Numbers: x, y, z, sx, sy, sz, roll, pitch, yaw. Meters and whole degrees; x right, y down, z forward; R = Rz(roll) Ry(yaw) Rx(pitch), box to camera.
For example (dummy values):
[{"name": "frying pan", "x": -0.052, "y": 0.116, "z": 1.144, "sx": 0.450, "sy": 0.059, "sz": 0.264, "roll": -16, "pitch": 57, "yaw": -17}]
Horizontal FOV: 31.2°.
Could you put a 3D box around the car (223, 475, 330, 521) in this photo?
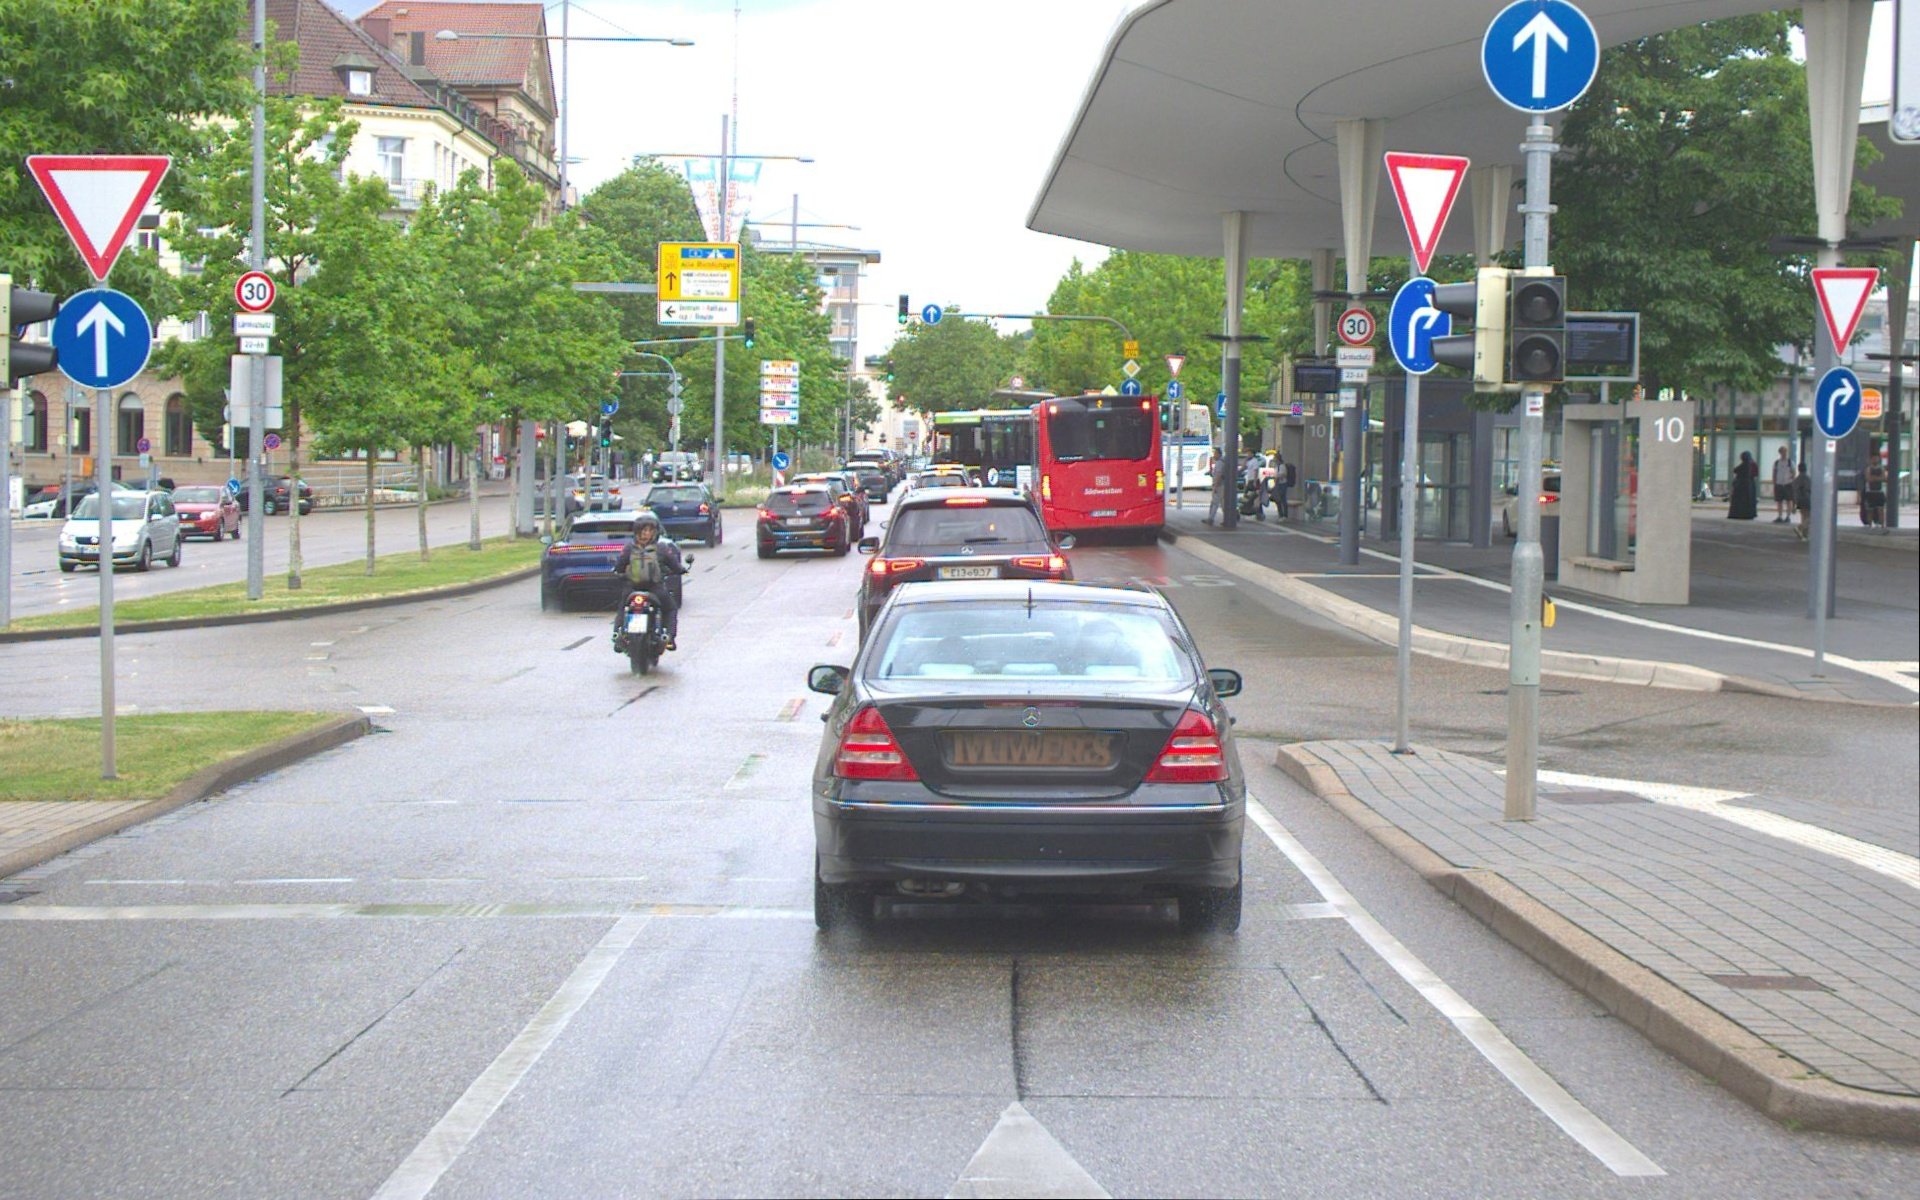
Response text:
[{"name": "car", "x": -24.326, "y": -3.623, "z": 122.282, "sx": 3.765, "sy": 1.555, "sz": 1.729, "roll": 1, "pitch": 0, "yaw": 40}]

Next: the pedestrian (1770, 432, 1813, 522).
[{"name": "pedestrian", "x": 19.205, "y": -2.833, "z": 79.369, "sx": 0.724, "sy": 2.007, "sz": 0.669, "roll": 3, "pitch": -2, "yaw": 26}]

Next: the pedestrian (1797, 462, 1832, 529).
[{"name": "pedestrian", "x": 20.669, "y": -2.534, "z": 83.149, "sx": 0.580, "sy": 1.573, "sz": 0.560, "roll": 3, "pitch": -2, "yaw": 35}]

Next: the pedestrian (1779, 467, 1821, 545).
[{"name": "pedestrian", "x": 17.174, "y": -1.914, "z": 70.277, "sx": 0.598, "sy": 1.576, "sz": 0.712, "roll": 0, "pitch": 0, "yaw": -9}]

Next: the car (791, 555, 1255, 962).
[{"name": "car", "x": 0.200, "y": 0.552, "z": 14.754, "sx": 1.697, "sy": 1.457, "sz": 4.304, "roll": 0, "pitch": 1, "yaw": -1}]

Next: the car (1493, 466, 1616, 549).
[{"name": "car", "x": 12.402, "y": -1.959, "z": 71.965, "sx": 1.711, "sy": 1.656, "sz": 4.240, "roll": 1, "pitch": 2, "yaw": -1}]

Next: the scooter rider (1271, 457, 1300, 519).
[{"name": "scooter rider", "x": 7.835, "y": -2.700, "z": 82.736, "sx": 0.592, "sy": 1.484, "sz": 0.764, "roll": 1, "pitch": 2, "yaw": 13}]

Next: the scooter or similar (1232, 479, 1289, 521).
[{"name": "scooter or similar", "x": 7.245, "y": -2.410, "z": 82.898, "sx": 1.243, "sy": 1.009, "sz": 0.764, "roll": 1, "pitch": 2, "yaw": 14}]

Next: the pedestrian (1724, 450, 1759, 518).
[{"name": "pedestrian", "x": 18.828, "y": -2.796, "z": 82.823, "sx": 0.580, "sy": 1.573, "sz": 0.560, "roll": 3, "pitch": -2, "yaw": 29}]

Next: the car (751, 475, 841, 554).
[{"name": "car", "x": -3.313, "y": -1.761, "z": 69.918, "sx": 1.575, "sy": 1.499, "sz": 3.871, "roll": -2, "pitch": 3, "yaw": 1}]

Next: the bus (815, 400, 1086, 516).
[{"name": "bus", "x": -0.484, "y": -5.035, "z": 122.869, "sx": 2.839, "sy": 3.974, "sz": 11.860, "roll": -1, "pitch": 2, "yaw": -39}]

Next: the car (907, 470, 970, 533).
[{"name": "car", "x": -0.574, "y": -2.616, "z": 90.892, "sx": 1.575, "sy": 1.561, "sz": 3.871, "roll": -2, "pitch": 3, "yaw": 0}]

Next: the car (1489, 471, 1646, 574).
[{"name": "car", "x": 9.041, "y": -1.181, "z": 51.363, "sx": 1.647, "sy": 1.448, "sz": 3.238, "roll": 1, "pitch": 3, "yaw": -2}]

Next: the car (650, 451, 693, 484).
[{"name": "car", "x": -14.217, "y": -6.525, "z": 169.485, "sx": 1.780, "sy": 1.561, "sz": 3.430, "roll": -2, "pitch": 3, "yaw": 0}]

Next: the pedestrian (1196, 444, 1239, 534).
[{"name": "pedestrian", "x": 5.895, "y": -2.546, "z": 78.759, "sx": 0.778, "sy": 2.006, "sz": 0.781, "roll": 4, "pitch": 5, "yaw": 12}]

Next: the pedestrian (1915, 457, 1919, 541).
[{"name": "pedestrian", "x": 21.874, "y": -2.265, "z": 77.264, "sx": 0.590, "sy": 1.868, "sz": 0.715, "roll": 3, "pitch": 3, "yaw": 29}]

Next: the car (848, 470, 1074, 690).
[{"name": "car", "x": -0.001, "y": -0.267, "z": 33.012, "sx": 1.957, "sy": 1.869, "sz": 4.874, "roll": -2, "pitch": 3, "yaw": 0}]

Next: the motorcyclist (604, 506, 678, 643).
[{"name": "motorcyclist", "x": -3.197, "y": -0.262, "z": 34.486, "sx": 0.641, "sy": 1.342, "sz": 0.689, "roll": 0, "pitch": 2, "yaw": 3}]

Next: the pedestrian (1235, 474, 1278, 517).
[{"name": "pedestrian", "x": 7.129, "y": -2.522, "z": 82.758, "sx": 0.914, "sy": 0.981, "sz": 0.633, "roll": 2, "pitch": -2, "yaw": 14}]

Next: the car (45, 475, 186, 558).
[{"name": "car", "x": -17.427, "y": -1.740, "z": 71.125, "sx": 1.847, "sy": 1.647, "sz": 4.420, "roll": 0, "pitch": 2, "yaw": 0}]

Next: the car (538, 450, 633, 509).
[{"name": "car", "x": -11.961, "y": -3.829, "z": 109.521, "sx": 1.865, "sy": 1.678, "sz": 4.001, "roll": 4, "pitch": 0, "yaw": -22}]

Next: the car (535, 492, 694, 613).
[{"name": "car", "x": -4.937, "y": -0.727, "z": 49.640, "sx": 1.816, "sy": 1.565, "sz": 4.404, "roll": -2, "pitch": 3, "yaw": 0}]

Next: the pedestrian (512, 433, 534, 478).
[{"name": "pedestrian", "x": -19.821, "y": -6.565, "z": 155.967, "sx": 0.724, "sy": 2.006, "sz": 0.826, "roll": -1, "pitch": 2, "yaw": -26}]

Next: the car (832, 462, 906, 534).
[{"name": "car", "x": -2.063, "y": -2.363, "z": 78.866, "sx": 1.575, "sy": 1.561, "sz": 3.871, "roll": -2, "pitch": 3, "yaw": 0}]

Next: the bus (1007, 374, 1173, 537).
[{"name": "bus", "x": 2.718, "y": -3.165, "z": 75.296, "sx": 3.286, "sy": 3.280, "sz": 10.879, "roll": 0, "pitch": 2, "yaw": 0}]

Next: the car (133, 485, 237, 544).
[{"name": "car", "x": -20.838, "y": -2.316, "z": 92.569, "sx": 1.822, "sy": 1.546, "sz": 4.033, "roll": 0, "pitch": 2, "yaw": 1}]

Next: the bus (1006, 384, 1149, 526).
[{"name": "bus", "x": 2.803, "y": -3.574, "z": 84.820, "sx": 3.291, "sy": 3.277, "sz": 8.850, "roll": 0, "pitch": 2, "yaw": 0}]

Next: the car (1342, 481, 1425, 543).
[{"name": "car", "x": 12.048, "y": -2.519, "z": 97.917, "sx": 1.711, "sy": 1.656, "sz": 4.240, "roll": 1, "pitch": 2, "yaw": -1}]

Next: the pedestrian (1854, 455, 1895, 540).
[{"name": "pedestrian", "x": 18.558, "y": -2.084, "z": 69.748, "sx": 0.560, "sy": 1.686, "sz": 0.614, "roll": 1, "pitch": 2, "yaw": -7}]

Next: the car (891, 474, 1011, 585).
[{"name": "car", "x": -0.140, "y": -1.123, "z": 53.202, "sx": 1.741, "sy": 1.561, "sz": 3.871, "roll": -2, "pitch": 3, "yaw": 0}]

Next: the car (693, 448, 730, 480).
[{"name": "car", "x": -12.695, "y": -6.980, "z": 175.749, "sx": 1.575, "sy": 1.561, "sz": 3.430, "roll": -2, "pitch": 3, "yaw": 0}]

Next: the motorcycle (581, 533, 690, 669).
[{"name": "motorcycle", "x": -3.227, "y": -0.005, "z": 34.334, "sx": 0.793, "sy": 1.257, "sz": 1.855, "roll": -1, "pitch": 2, "yaw": 3}]

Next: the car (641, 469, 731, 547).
[{"name": "car", "x": -6.107, "y": -2.072, "z": 76.889, "sx": 1.676, "sy": 1.617, "sz": 3.871, "roll": -2, "pitch": 3, "yaw": 0}]
